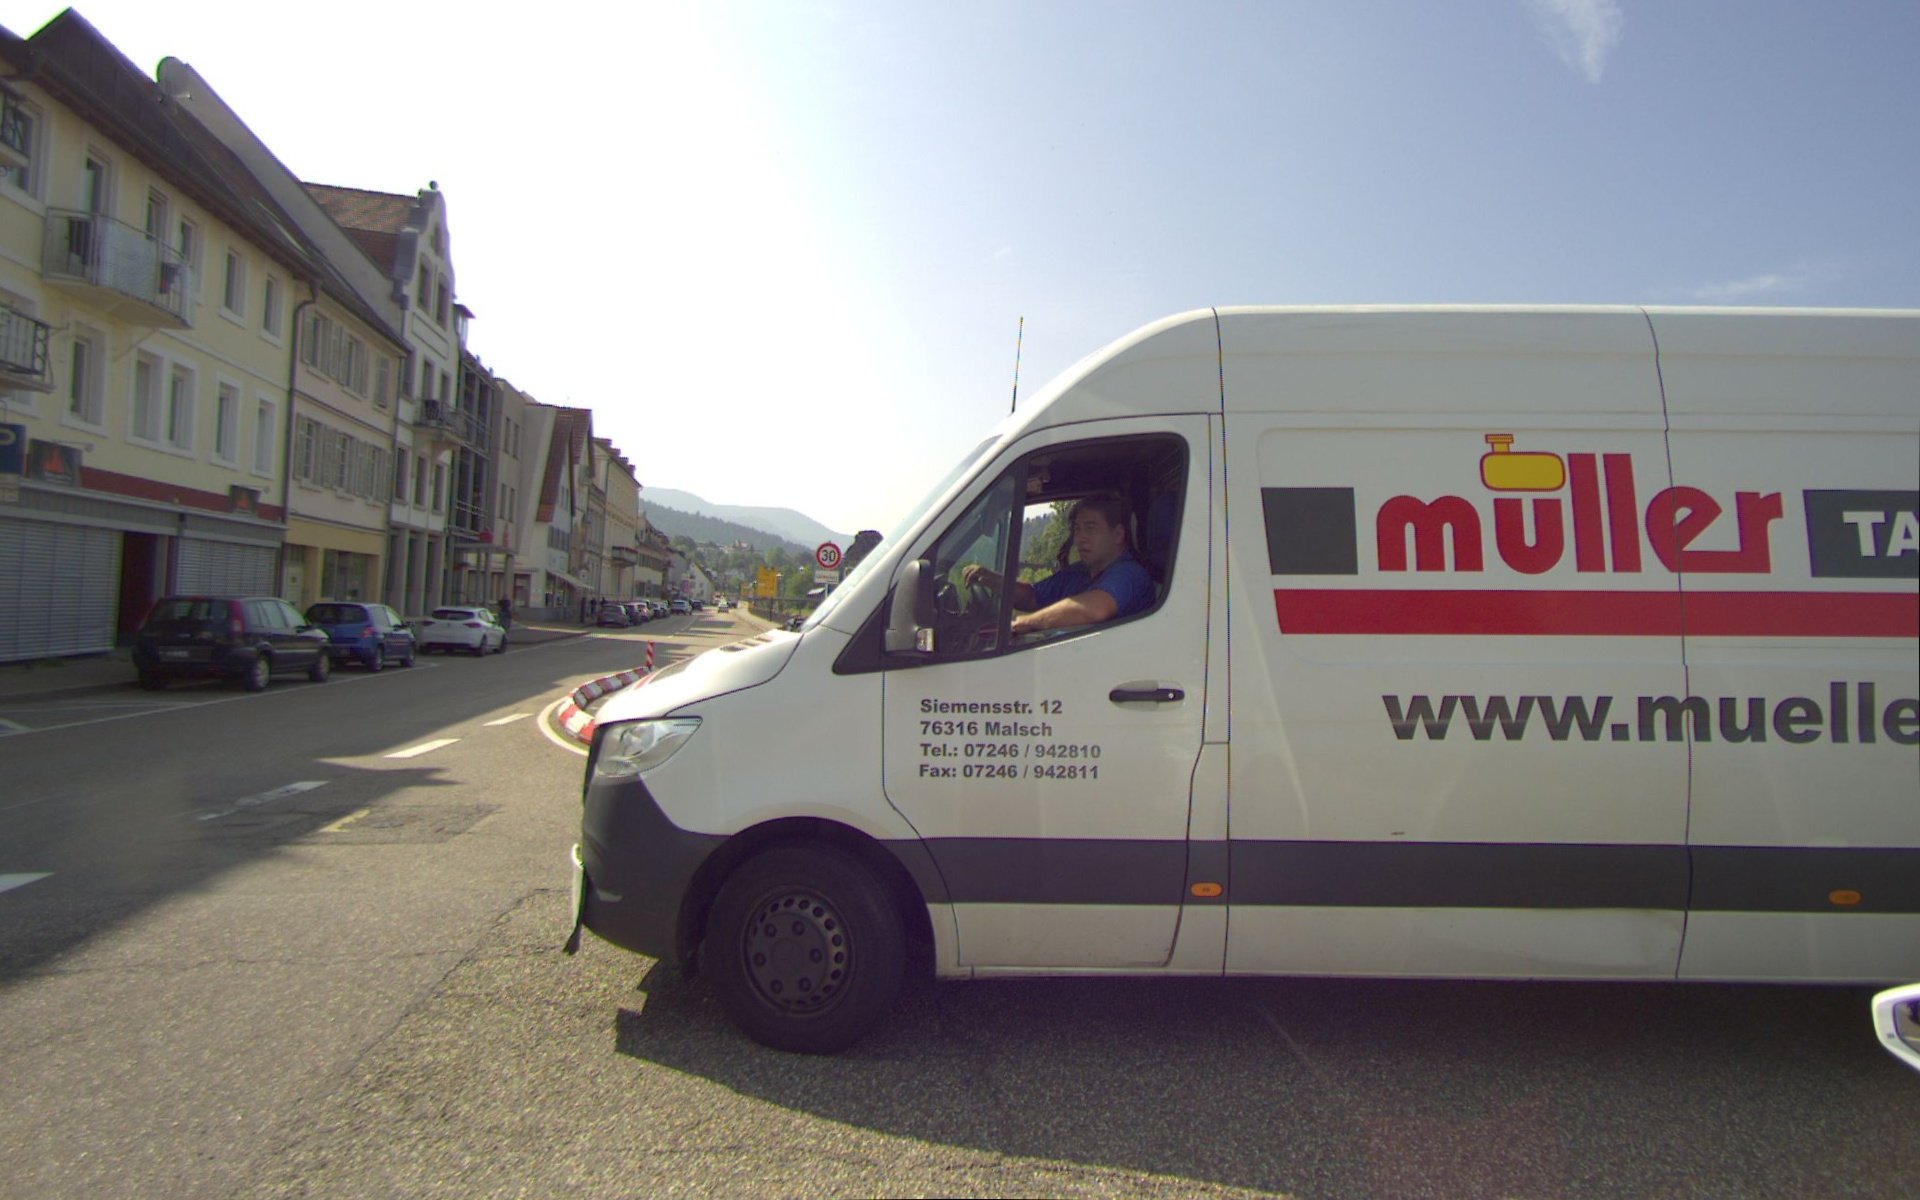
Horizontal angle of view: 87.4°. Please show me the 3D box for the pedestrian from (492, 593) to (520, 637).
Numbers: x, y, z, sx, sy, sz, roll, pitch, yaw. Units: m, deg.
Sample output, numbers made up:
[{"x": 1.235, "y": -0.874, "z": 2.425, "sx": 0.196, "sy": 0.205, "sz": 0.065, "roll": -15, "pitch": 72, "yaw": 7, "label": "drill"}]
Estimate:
[{"x": -18.210, "y": 0.597, "z": 40.300, "sx": 0.677, "sy": 1.719, "sz": 0.660, "roll": 3, "pitch": -1, "yaw": 15, "label": "pedestrian"}]

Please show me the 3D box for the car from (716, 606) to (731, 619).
[{"x": -35.757, "y": 1.891, "z": 152.172, "sx": 1.966, "sy": 1.683, "sz": 3.991, "roll": 4, "pitch": -1, "yaw": -12, "label": "car"}]

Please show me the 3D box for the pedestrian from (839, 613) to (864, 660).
[{"x": -4.096, "y": 1.365, "z": 37.884, "sx": 0.778, "sy": 1.728, "sz": 0.491, "roll": 4, "pitch": -1, "yaw": -10, "label": "pedestrian"}]

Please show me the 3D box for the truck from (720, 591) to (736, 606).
[{"x": -53.648, "y": -0.388, "z": 232.164, "sx": 3.030, "sy": 3.307, "sz": 9.176, "roll": 3, "pitch": -1, "yaw": -15, "label": "truck"}]

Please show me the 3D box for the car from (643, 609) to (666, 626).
[{"x": -28.413, "y": 1.593, "z": 93.441, "sx": 1.723, "sy": 1.467, "sz": 3.268, "roll": 3, "pitch": -1, "yaw": -13, "label": "car"}]

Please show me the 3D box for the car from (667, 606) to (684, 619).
[{"x": -34.361, "y": 1.527, "z": 121.482, "sx": 1.723, "sy": 1.467, "sz": 3.268, "roll": 3, "pitch": -1, "yaw": -13, "label": "car"}]

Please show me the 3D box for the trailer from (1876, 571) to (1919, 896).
[{"x": 8.257, "y": 0.862, "z": 4.727, "sx": 5.527, "sy": 1.852, "sz": 2.619, "roll": 3, "pitch": -1, "yaw": -1, "label": "trailer"}]

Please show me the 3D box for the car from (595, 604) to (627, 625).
[{"x": -22.665, "y": 0.939, "z": 65.249, "sx": 1.542, "sy": 1.236, "sz": 3.268, "roll": 3, "pitch": -1, "yaw": -13, "label": "car"}]

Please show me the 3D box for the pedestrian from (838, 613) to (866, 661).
[{"x": -4.003, "y": 1.370, "z": 37.225, "sx": 0.854, "sy": 1.728, "sz": 0.776, "roll": 4, "pitch": -1, "yaw": -10, "label": "pedestrian"}]

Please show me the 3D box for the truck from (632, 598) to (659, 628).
[{"x": -27.324, "y": 1.106, "z": 87.410, "sx": 1.723, "sy": 2.500, "sz": 4.649, "roll": 3, "pitch": -1, "yaw": -13, "label": "truck"}]

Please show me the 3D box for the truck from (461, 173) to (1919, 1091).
[{"x": 1.980, "y": 0.162, "z": 4.229, "sx": 6.993, "sy": 2.734, "sz": 2.112, "roll": 2, "pitch": -1, "yaw": 0, "label": "truck"}]

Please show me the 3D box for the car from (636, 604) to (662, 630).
[{"x": -25.436, "y": 1.387, "z": 82.188, "sx": 1.723, "sy": 1.960, "sz": 3.568, "roll": 3, "pitch": -1, "yaw": -13, "label": "car"}]

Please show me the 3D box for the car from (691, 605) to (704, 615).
[{"x": -41.210, "y": 1.520, "z": 157.764, "sx": 1.723, "sy": 1.467, "sz": 3.268, "roll": 3, "pitch": -1, "yaw": -13, "label": "car"}]

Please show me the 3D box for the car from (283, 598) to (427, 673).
[{"x": -13.330, "y": 0.747, "z": 22.343, "sx": 1.723, "sy": 1.467, "sz": 3.268, "roll": 3, "pitch": -1, "yaw": -13, "label": "car"}]

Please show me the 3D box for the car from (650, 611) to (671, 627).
[{"x": -29.693, "y": 1.867, "z": 99.499, "sx": 1.723, "sy": 1.467, "sz": 3.268, "roll": 3, "pitch": -1, "yaw": -13, "label": "car"}]

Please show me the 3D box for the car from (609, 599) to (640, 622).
[{"x": -23.796, "y": 0.733, "z": 71.278, "sx": 1.723, "sy": 1.467, "sz": 3.268, "roll": 3, "pitch": -1, "yaw": -13, "label": "car"}]

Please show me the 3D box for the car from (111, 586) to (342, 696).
[{"x": -12.172, "y": 0.640, "z": 16.986, "sx": 1.821, "sy": 1.589, "sz": 3.559, "roll": 3, "pitch": -1, "yaw": -13, "label": "car"}]

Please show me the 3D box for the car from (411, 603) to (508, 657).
[{"x": -15.076, "y": 0.870, "z": 30.469, "sx": 1.723, "sy": 1.467, "sz": 3.785, "roll": 3, "pitch": -1, "yaw": -13, "label": "car"}]
